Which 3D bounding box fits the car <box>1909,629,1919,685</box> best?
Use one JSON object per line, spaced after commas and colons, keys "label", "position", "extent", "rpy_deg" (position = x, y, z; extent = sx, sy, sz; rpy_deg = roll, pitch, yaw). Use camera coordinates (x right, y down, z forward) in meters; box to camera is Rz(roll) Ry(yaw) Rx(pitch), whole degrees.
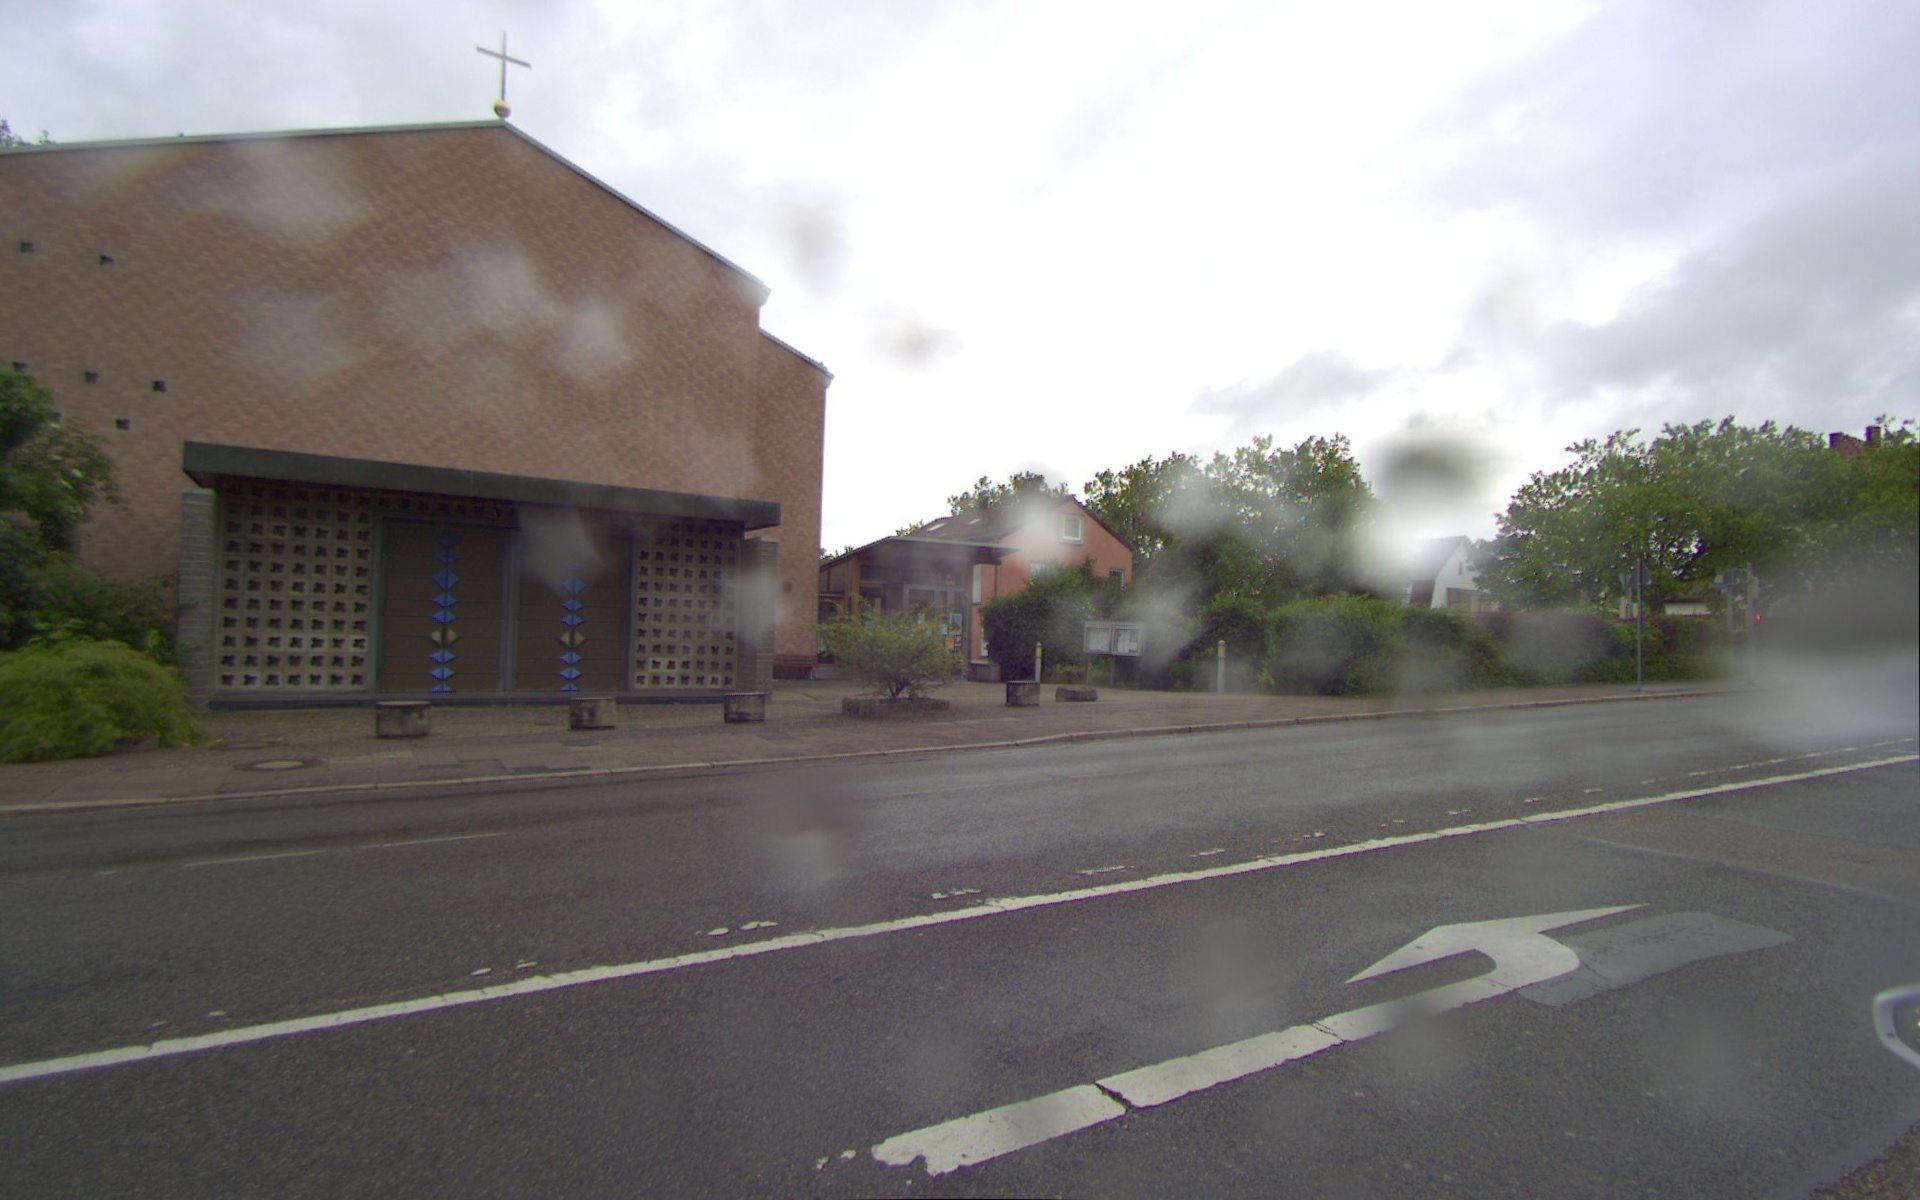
{"label": "car", "position": [28.606, 1.607, 28.089], "extent": [3.907, 1.530, 1.985], "rpy_deg": [1, -1, -30]}

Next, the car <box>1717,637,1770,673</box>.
{"label": "car", "position": [38.542, 2.674, 49.436], "extent": [1.969, 1.572, 3.983], "rpy_deg": [0, -1, 38]}
